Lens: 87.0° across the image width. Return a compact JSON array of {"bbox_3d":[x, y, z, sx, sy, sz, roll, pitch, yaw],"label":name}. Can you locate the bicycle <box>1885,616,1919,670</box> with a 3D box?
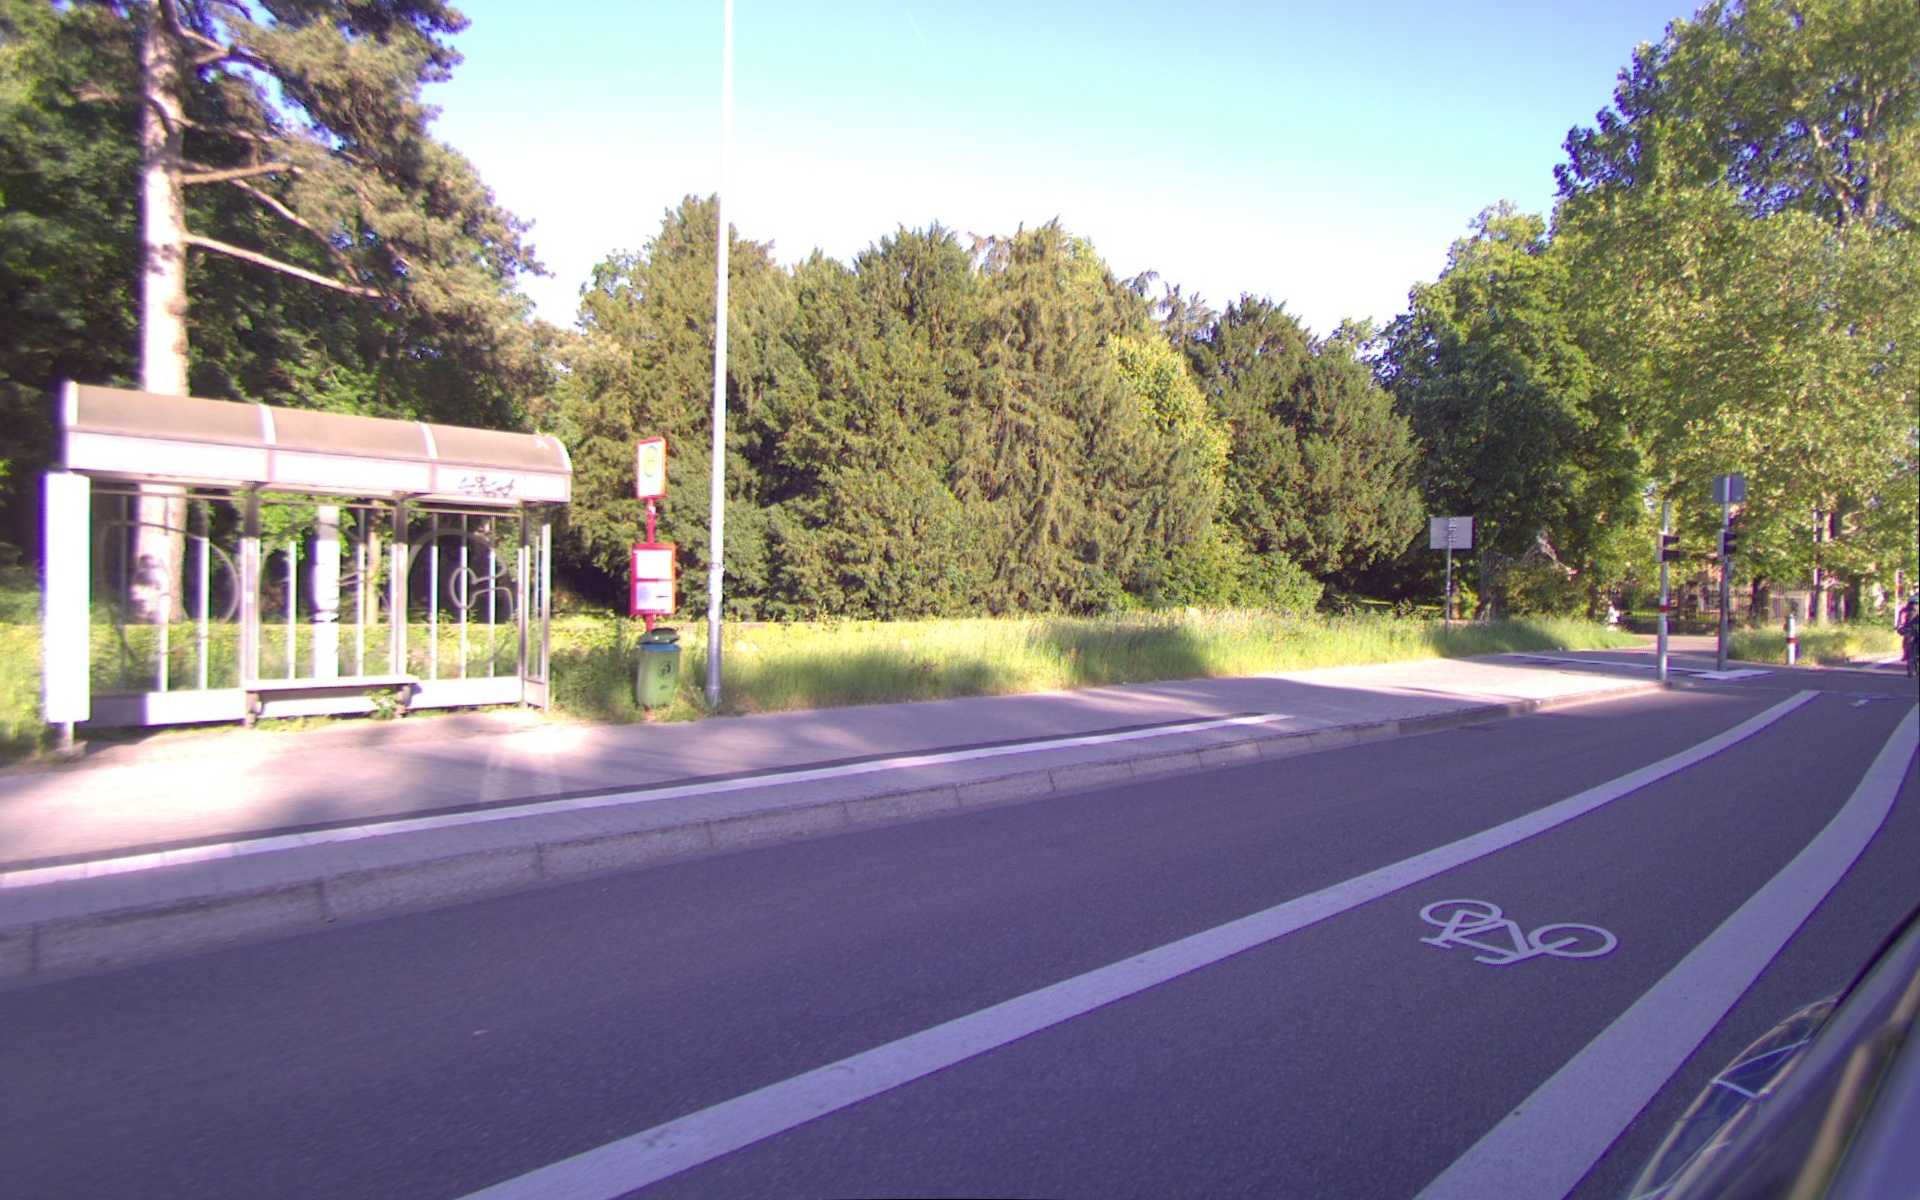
[{"bbox_3d":[20.762,0.910,21.788,2.094,1.109,0.696,0,1,-31],"label":"bicycle"}]

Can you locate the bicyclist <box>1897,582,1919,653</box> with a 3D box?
[{"bbox_3d":[20.783,0.381,21.788,0.785,1.509,0.696,1,1,-31],"label":"bicyclist"}]

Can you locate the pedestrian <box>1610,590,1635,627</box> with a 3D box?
[{"bbox_3d":[29.652,0.371,45.300,0.667,1.654,0.692,1,1,-33],"label":"pedestrian"}]

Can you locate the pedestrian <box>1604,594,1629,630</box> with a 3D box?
[{"bbox_3d":[29.182,0.539,44.977,0.667,1.565,0.692,1,1,-33],"label":"pedestrian"}]

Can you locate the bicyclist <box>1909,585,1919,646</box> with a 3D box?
[{"bbox_3d":[24.312,0.384,25.385,0.693,1.520,0.878,1,1,45],"label":"bicyclist"}]
